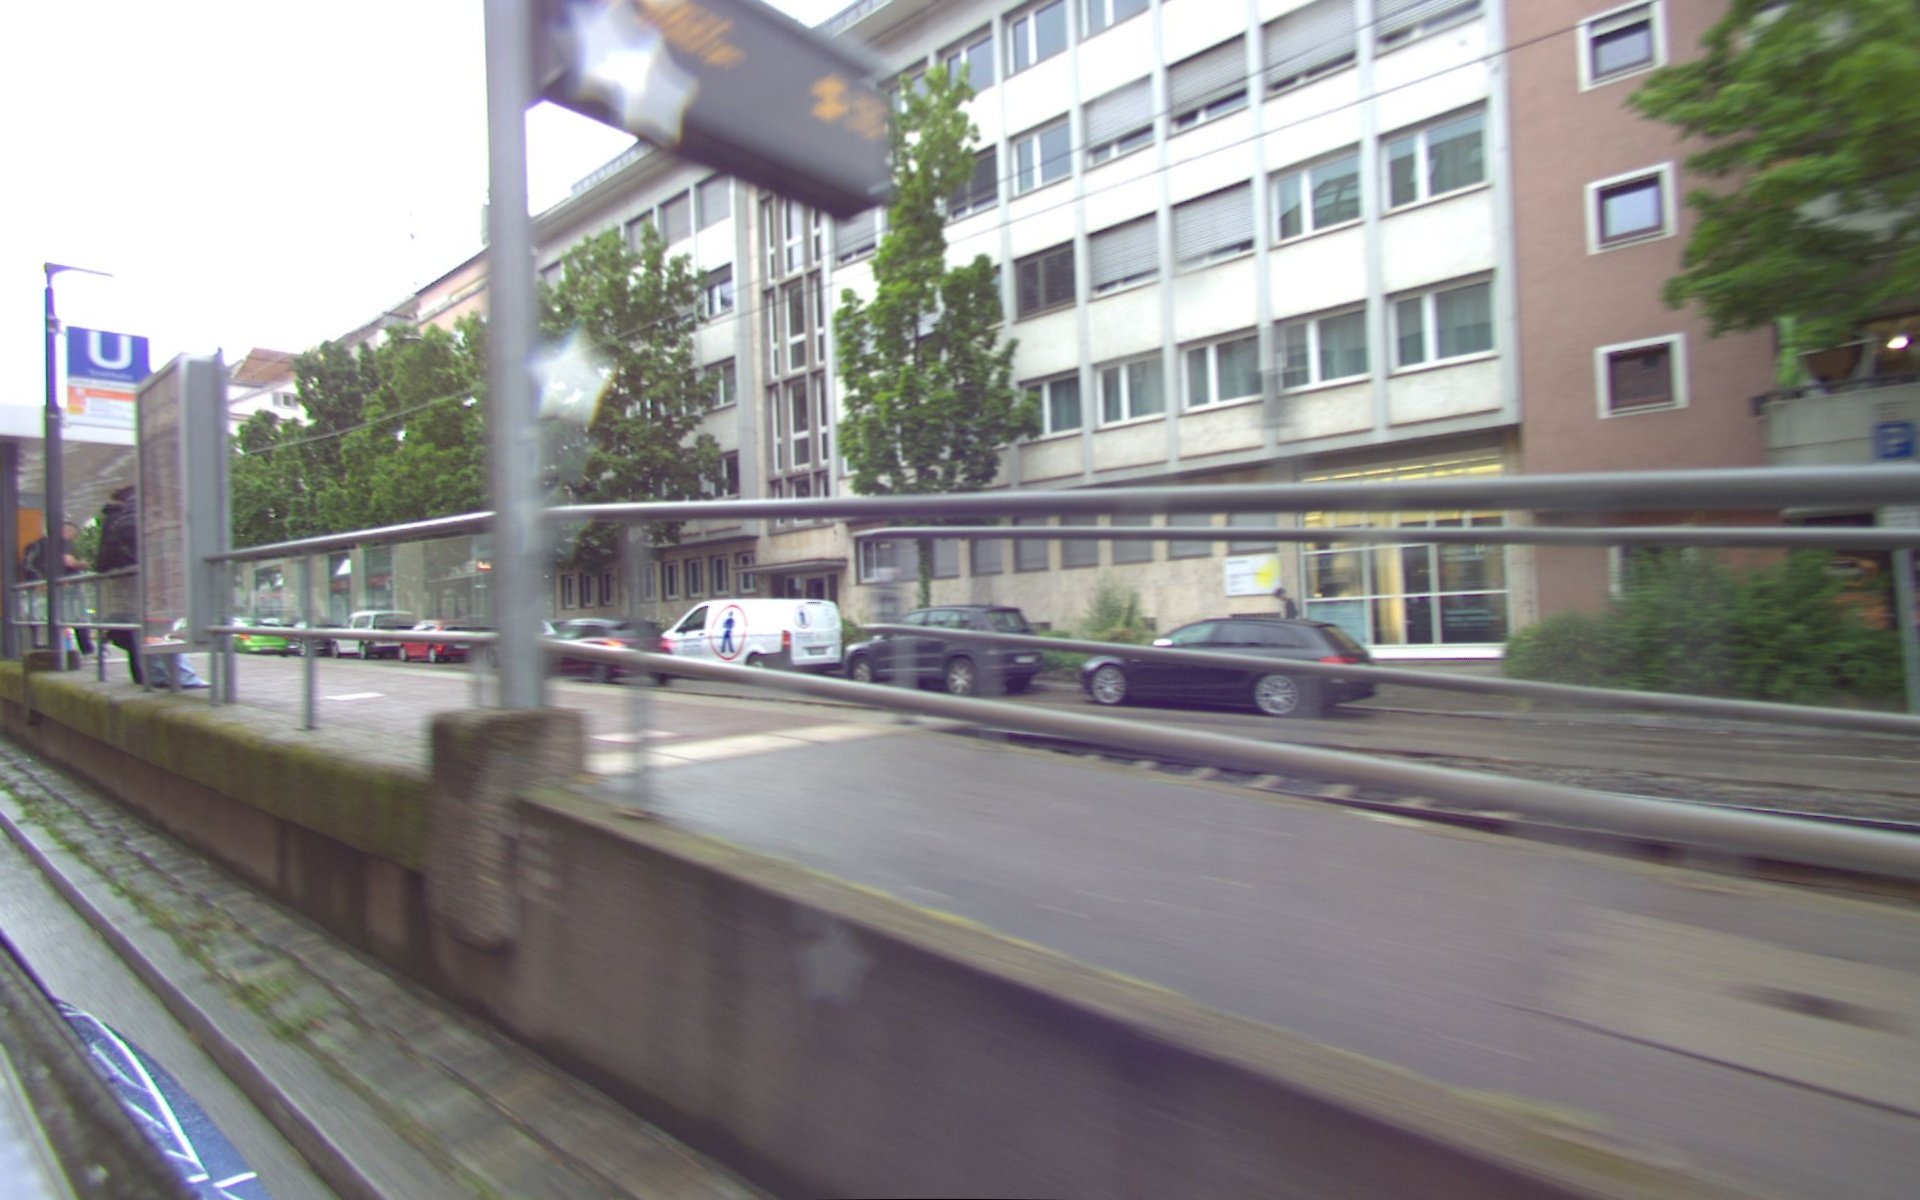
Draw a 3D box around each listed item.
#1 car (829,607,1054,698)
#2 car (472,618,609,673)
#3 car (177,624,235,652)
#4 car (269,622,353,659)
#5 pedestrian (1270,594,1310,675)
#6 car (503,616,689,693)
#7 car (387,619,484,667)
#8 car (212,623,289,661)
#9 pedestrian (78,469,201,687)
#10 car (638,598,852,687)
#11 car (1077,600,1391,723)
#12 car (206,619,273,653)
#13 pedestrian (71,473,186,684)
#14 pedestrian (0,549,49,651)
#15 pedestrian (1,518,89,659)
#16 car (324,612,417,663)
[{"bbox_3d":[-0.447,0.938,19.329,4.369,1.548,1.621,-1,-1,42],"label":"car"},{"bbox_3d":[-12.160,1.268,29.187,4.525,1.473,1.675,-1,-1,38],"label":"car"},{"bbox_3d":[-39.815,1.986,53.405,4.457,1.386,1.695,-1,-1,43],"label":"car"},{"bbox_3d":[-26.919,1.643,41.918,4.726,1.451,1.622,-1,-1,40],"label":"car"},{"bbox_3d":[6.582,0.684,20.173,0.584,1.569,0.693,-1,-1,35],"label":"pedestrian"},{"bbox_3d":[-7.937,1.110,21.885,4.525,1.473,1.675,-1,-1,38],"label":"car"},{"bbox_3d":[-17.973,1.436,34.636,3.801,1.551,1.622,-1,-1,40],"label":"car"},{"bbox_3d":[-27.031,1.561,38.523,3.734,1.348,1.621,-1,-1,42],"label":"car"},{"bbox_3d":[-6.235,-0.151,7.695,0.700,1.569,0.577,-1,-2,39],"label":"pedestrian"},{"bbox_3d":[-5.050,0.923,23.357,5.249,1.858,1.889,-1,-1,37],"label":"car"},{"bbox_3d":[4.055,0.847,15.459,4.369,1.636,1.621,-1,-1,42],"label":"car"},{"bbox_3d":[-35.312,1.741,49.542,4.334,1.596,1.641,-1,-1,40],"label":"car"},{"bbox_3d":[-6.737,-0.156,8.200,0.700,1.621,0.577,-1,-2,39],"label":"pedestrian"},{"bbox_3d":[-16.453,0.007,17.507,0.700,1.737,0.907,-1,-2,39],"label":"pedestrian"},{"bbox_3d":[-11.480,-0.127,12.700,0.700,1.706,0.704,-1,-2,39],"label":"pedestrian"},{"bbox_3d":[-22.363,1.389,38.321,4.429,1.831,1.657,-1,-1,40],"label":"car"}]
